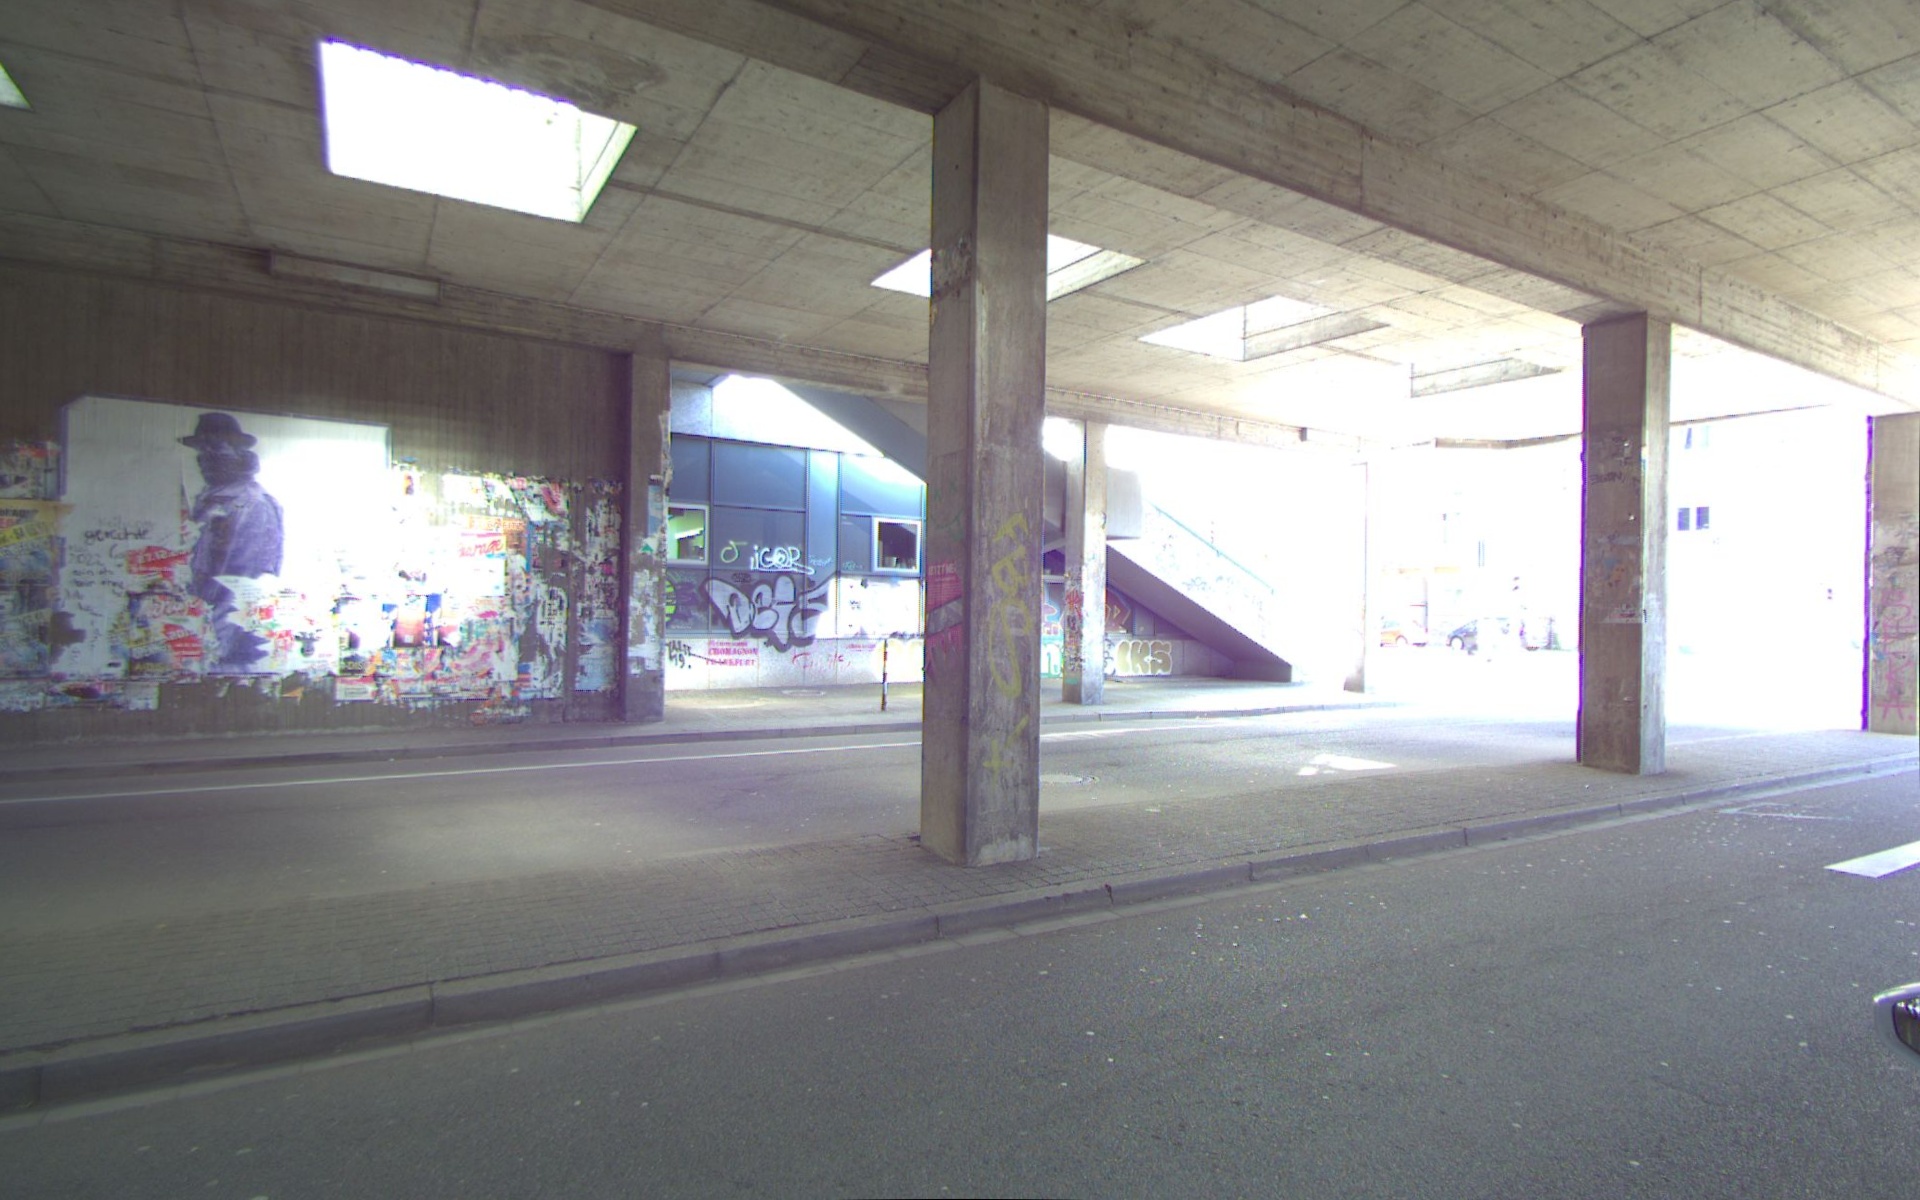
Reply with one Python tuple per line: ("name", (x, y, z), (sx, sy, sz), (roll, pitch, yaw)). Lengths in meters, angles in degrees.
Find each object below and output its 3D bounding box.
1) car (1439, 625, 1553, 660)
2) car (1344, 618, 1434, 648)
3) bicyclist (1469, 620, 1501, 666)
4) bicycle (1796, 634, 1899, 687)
("car", (25.367, 2.010, 47.669), (1.905, 1.428, 4.382), (2, 0, -32))
("car", (22.427, 1.709, 52.641), (1.905, 1.428, 3.965), (2, 0, -32))
("bicyclist", (16.511, 1.354, 31.583), (0.446, 1.394, 0.743), (2, 0, -27))
("bicycle", (20.587, 1.386, 23.337), (0.470, 1.133, 1.734), (2, 0, -27))
